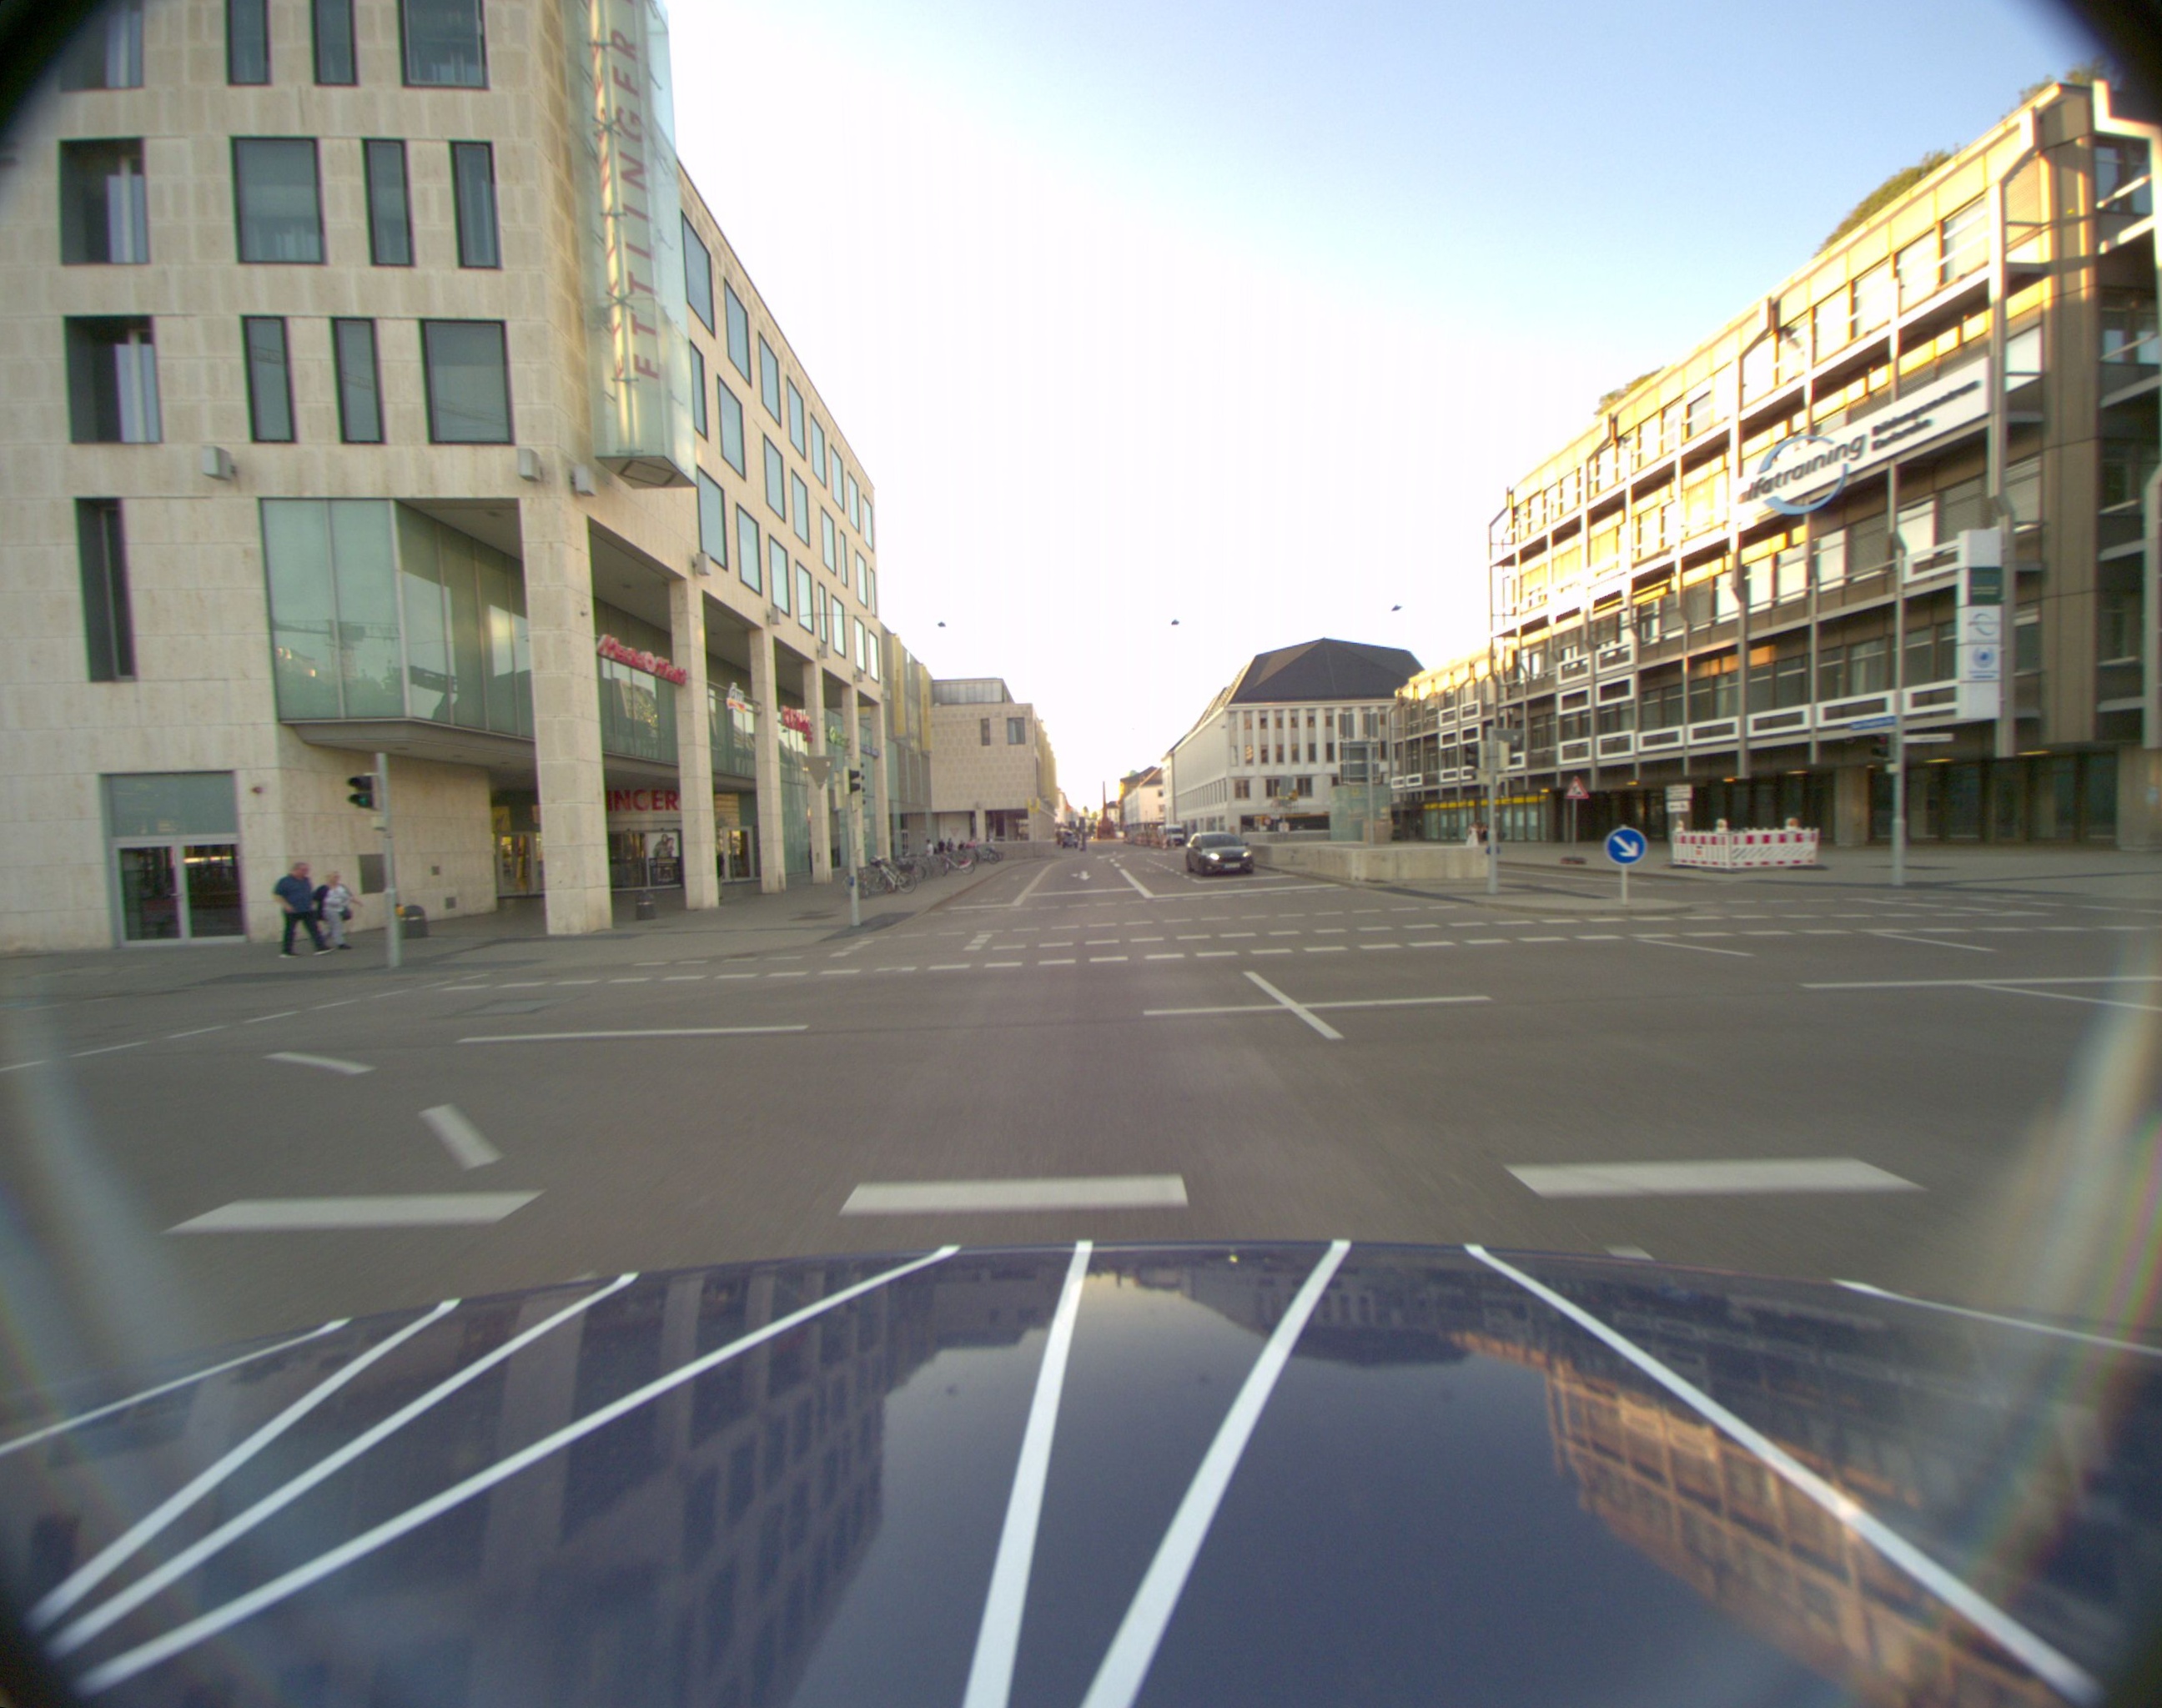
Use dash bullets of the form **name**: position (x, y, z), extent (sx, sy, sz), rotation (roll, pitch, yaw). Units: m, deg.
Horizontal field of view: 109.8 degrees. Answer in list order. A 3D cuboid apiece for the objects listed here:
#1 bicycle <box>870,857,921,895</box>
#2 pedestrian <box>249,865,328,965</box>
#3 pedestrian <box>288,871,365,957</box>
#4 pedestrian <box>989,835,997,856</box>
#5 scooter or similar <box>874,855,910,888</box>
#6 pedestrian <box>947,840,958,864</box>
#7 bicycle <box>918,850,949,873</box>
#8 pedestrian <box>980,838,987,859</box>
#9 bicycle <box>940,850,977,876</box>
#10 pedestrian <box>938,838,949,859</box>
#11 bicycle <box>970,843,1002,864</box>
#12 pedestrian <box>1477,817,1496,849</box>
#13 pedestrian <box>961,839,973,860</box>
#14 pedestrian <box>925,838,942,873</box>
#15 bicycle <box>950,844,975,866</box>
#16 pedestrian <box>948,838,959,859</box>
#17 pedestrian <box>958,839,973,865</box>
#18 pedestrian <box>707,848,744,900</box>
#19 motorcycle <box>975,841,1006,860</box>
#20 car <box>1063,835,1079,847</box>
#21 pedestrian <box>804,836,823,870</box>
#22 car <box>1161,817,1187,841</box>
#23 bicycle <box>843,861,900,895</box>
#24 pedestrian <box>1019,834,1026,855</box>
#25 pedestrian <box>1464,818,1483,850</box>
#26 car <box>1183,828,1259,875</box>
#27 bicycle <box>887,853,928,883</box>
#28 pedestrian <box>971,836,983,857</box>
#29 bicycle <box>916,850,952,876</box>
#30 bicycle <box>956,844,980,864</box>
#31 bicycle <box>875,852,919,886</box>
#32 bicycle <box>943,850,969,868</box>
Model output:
- **bicycle**: position (-6.107, 0.724, 25.012), extent (1.483, 1.177, 0.548), rotation (-1, 2, 5)
- **pedestrian**: position (-14.286, 1.072, 13.718), extent (0.668, 1.715, 0.589), rotation (-3, 2, -12)
- **pedestrian**: position (-14.375, 1.122, 14.501), extent (0.668, 1.537, 0.724), rotation (-2, 2, -12)
- **pedestrian**: position (-7.683, -0.738, 66.184), extent (0.516, 1.734, 0.492), rotation (-2, 2, 2)
- **scooter or similar**: position (-7.047, 0.644, 28.397), extent (1.197, 1.193, 0.492), rotation (-2, 2, -5)
- **pedestrian**: position (-9.566, -0.174, 56.621), extent (0.619, 1.770, 0.812), rotation (-2, 2, 2)
- **bicycle**: position (-7.555, 0.382, 38.956), extent (1.447, 1.059, 0.580), rotation (-5, 2, -11)
- **pedestrian**: position (-8.351, -0.493, 65.159), extent (0.494, 1.734, 0.656), rotation (-2, 2, 2)
- **bicycle**: position (-5.604, 0.402, 34.837), extent (1.518, 1.057, 0.466), rotation (-4, 2, 1)
- **pedestrian**: position (-10.957, -0.416, 60.616), extent (0.740, 1.639, 0.819), rotation (-2, 2, -5)
- **bicycle**: position (-5.772, -0.029, 46.222), extent (1.838, 1.140, 0.466), rotation (-4, 2, 1)
- **pedestrian**: position (21.461, -1.121, 40.171), extent (0.616, 1.630, 0.702), rotation (-2, 2, 0)
- **pedestrian**: position (-9.717, -0.385, 64.644), extent (0.793, 1.734, 0.656), rotation (-2, 2, 2)
- **pedestrian**: position (-7.281, 0.061, 37.550), extent (0.708, 1.683, 0.629), rotation (-2, 2, -8)
- **bicycle**: position (-7.020, 0.065, 44.961), extent (1.345, 1.157, 0.518), rotation (-4, 2, -2)
- **pedestrian**: position (-10.157, -0.447, 60.545), extent (0.698, 1.687, 0.819), rotation (-2, 2, -6)
- **pedestrian**: position (-7.431, -0.132, 48.882), extent (0.809, 1.633, 0.645), rotation (-3, 3, -19)
- **pedestrian**: position (-11.571, 0.646, 24.763), extent (0.793, 1.629, 0.707), rotation (-2, 2, 0)
- **motorcycle**: position (-6.195, -0.216, 51.975), extent (2.007, 1.217, 0.480), rotation (-2, 2, -3)
- **car**: position (-1.270, -1.684, 95.616), extent (1.798, 1.365, 3.670), rotation (-2, 2, 2)
- **pedestrian**: position (-13.308, -0.073, 37.810), extent (0.629, 1.643, 0.708), rotation (-2, 2, 1)
- **car**: position (10.668, -2.889, 87.261), extent (2.142, 2.541, 6.047), rotation (-2, 2, 0)
- **bicycle**: position (-7.074, 0.805, 25.666), extent (1.774, 1.072, 0.482), rotation (-2, 2, -8)
- **pedestrian**: position (-4.981, -0.814, 64.486), extent (0.455, 1.734, 0.492), rotation (-2, 2, 2)
- **pedestrian**: position (20.779, -1.065, 40.207), extent (0.670, 1.630, 0.583), rotation (-2, 2, 0)
- **car**: position (4.891, -0.144, 27.155), extent (1.762, 1.454, 4.378), rotation (-4, 2, -1)
- **bicycle**: position (-7.261, 0.580, 31.868), extent (1.519, 1.100, 0.552), rotation (-4, 2, -3)
- **pedestrian**: position (-8.749, -0.643, 63.923), extent (0.793, 1.734, 0.941), rotation (-2, 2, 2)
- **bicycle**: position (-7.004, 0.415, 36.286), extent (1.518, 1.118, 0.580), rotation (-4, 2, 3)
- **bicycle**: position (-7.000, 0.012, 47.046), extent (1.345, 1.157, 0.518), rotation (-4, 2, -2)
- **bicycle**: position (-7.307, 0.608, 30.250), extent (1.519, 1.220, 0.617), rotation (-4, 2, -1)
- **bicycle**: position (-6.967, 0.268, 42.394), extent (1.345, 0.927, 0.518), rotation (-4, 2, -2)
